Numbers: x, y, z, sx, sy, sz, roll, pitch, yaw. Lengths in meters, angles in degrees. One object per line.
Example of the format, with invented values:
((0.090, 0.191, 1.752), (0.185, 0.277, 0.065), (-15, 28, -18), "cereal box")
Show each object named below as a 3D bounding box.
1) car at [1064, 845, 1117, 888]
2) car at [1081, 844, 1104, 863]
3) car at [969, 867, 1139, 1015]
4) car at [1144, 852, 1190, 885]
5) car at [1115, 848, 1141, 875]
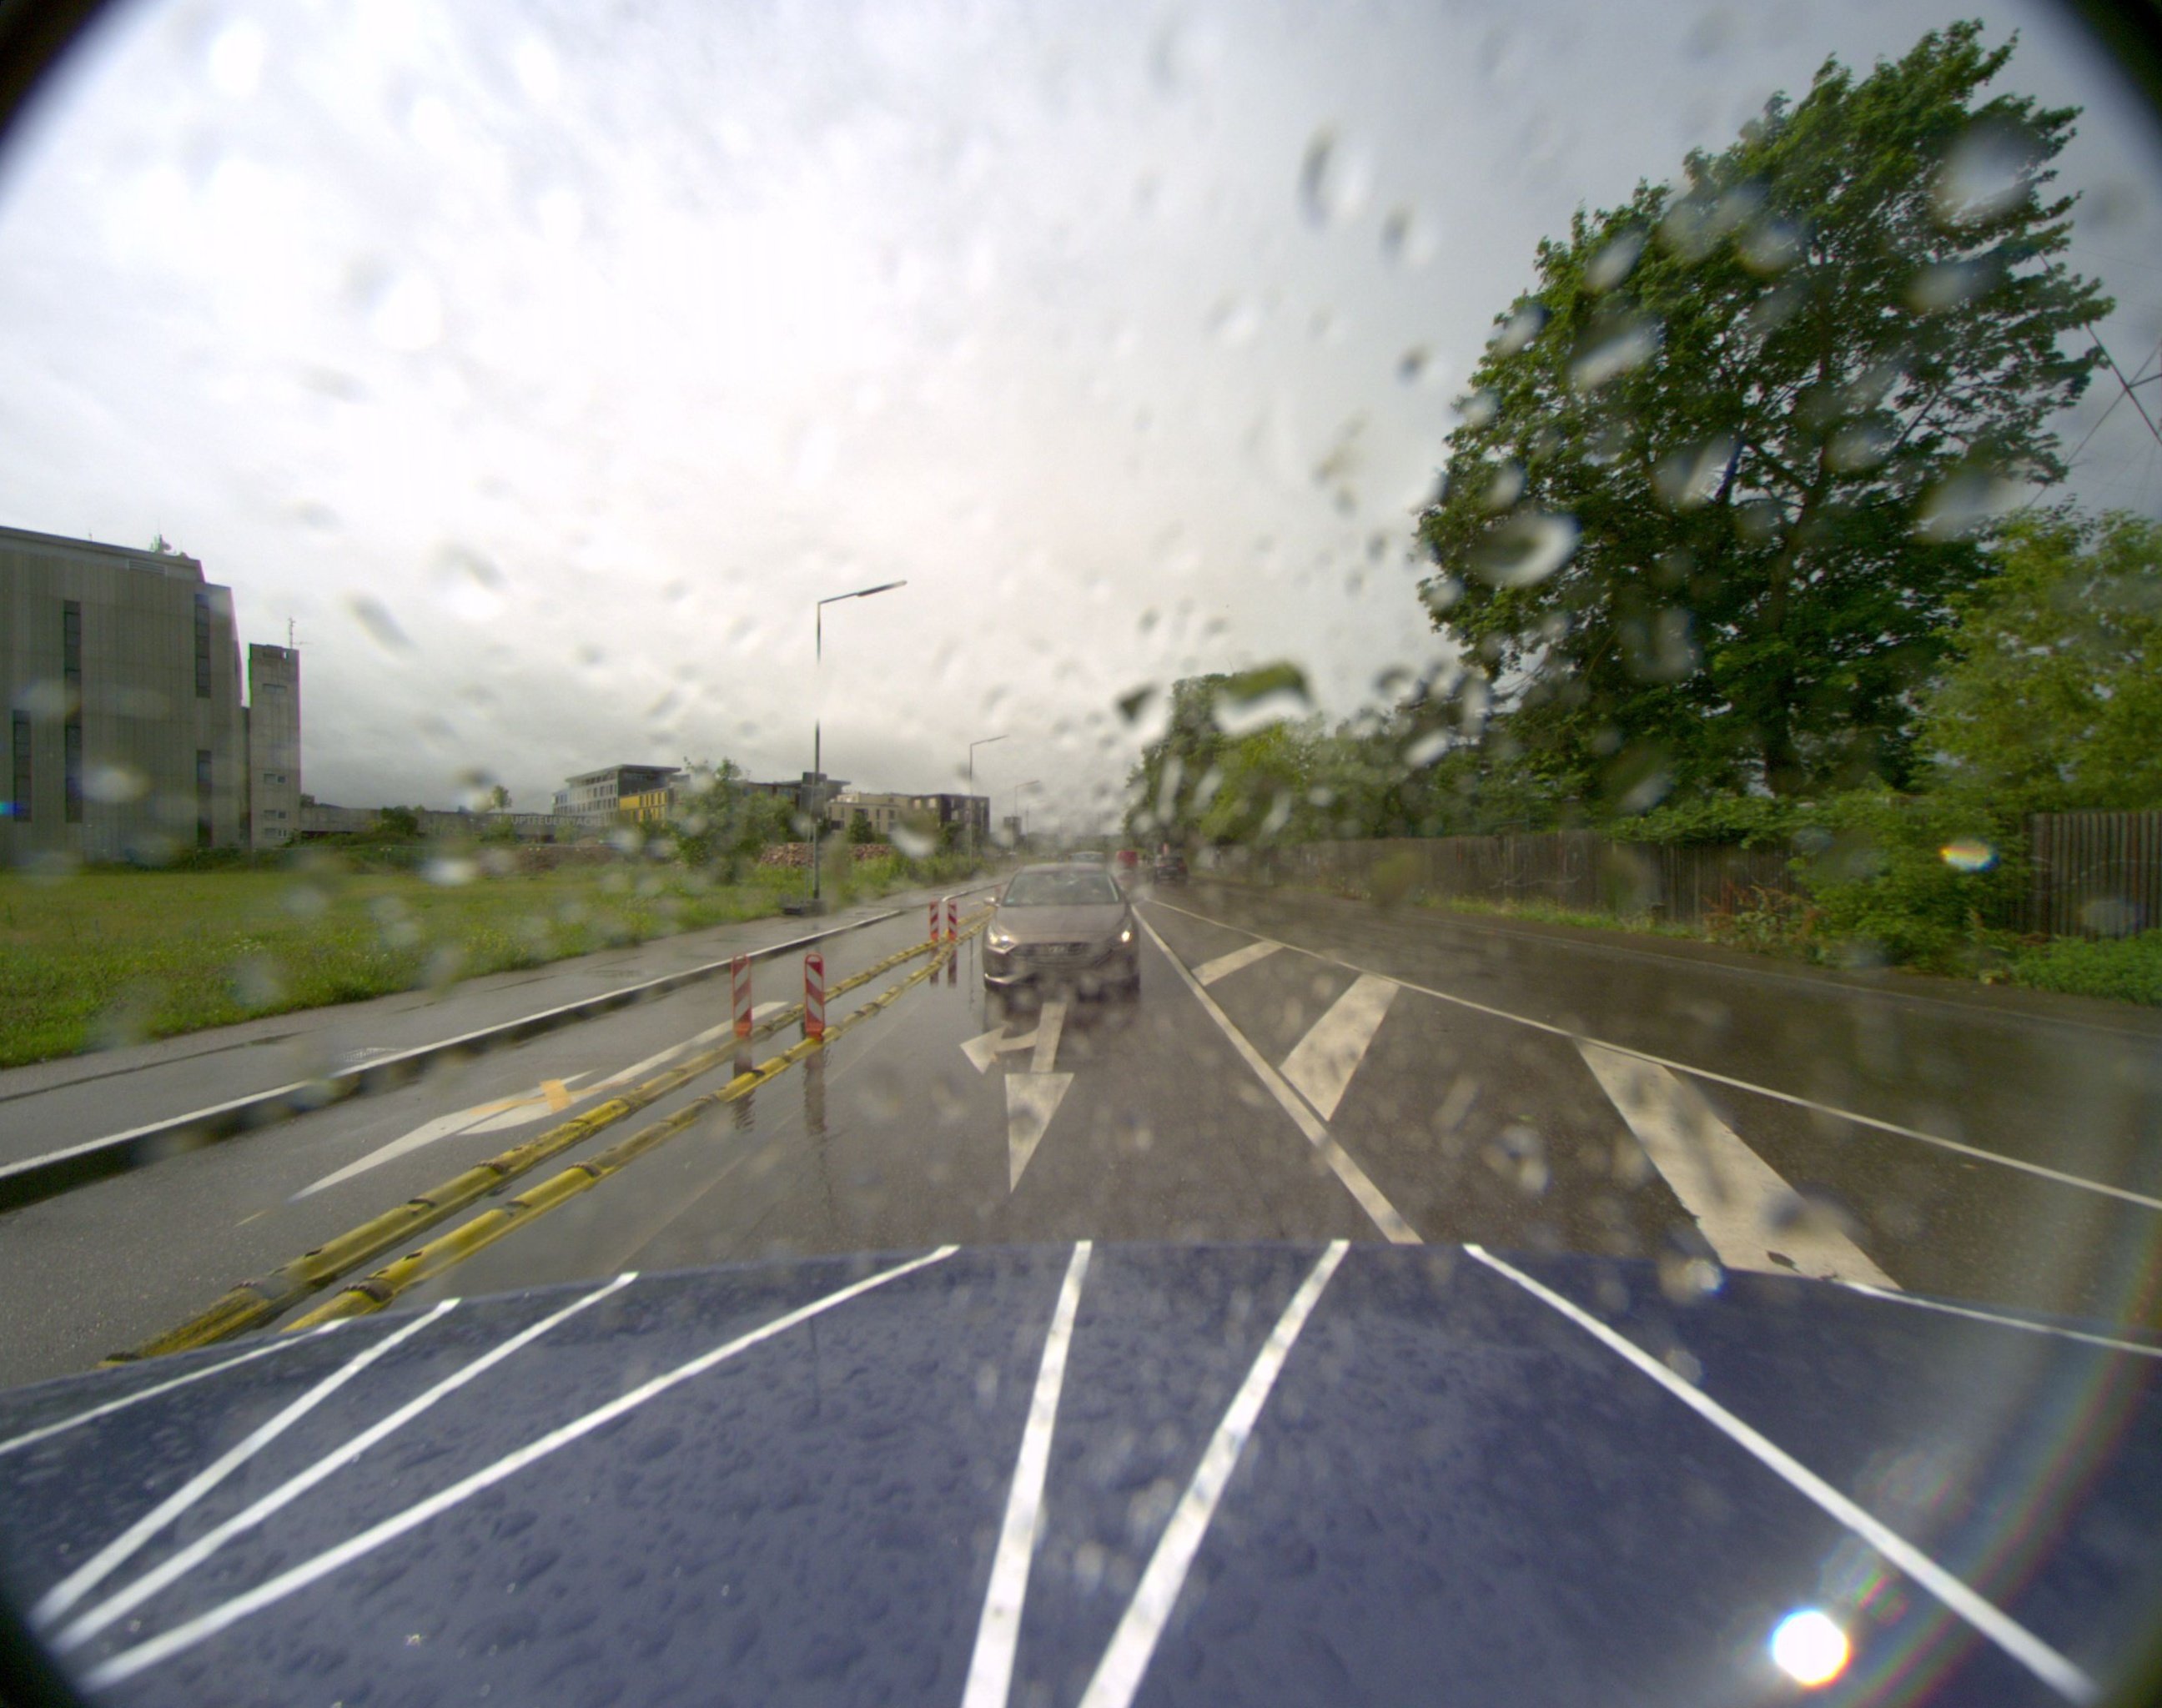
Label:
((0.469, 0.484, 31.513), (1.873, 1.653, 4.485), (-1, 0, 5), "car")
((1.074, -0.074, 71.181), (1.875, 1.653, 4.482), (-2, 0, -2), "car")
((-0.174, 0.937, 9.912), (1.734, 1.405, 4.128), (-1, 0, 3), "car")
((4.657, 0.766, 41.598), (1.855, 1.699, 3.999), (1, 0, -4), "car")
((4.148, 0.667, 67.581), (1.999, 2.321, 3.999), (0, 0, -2), "car")
